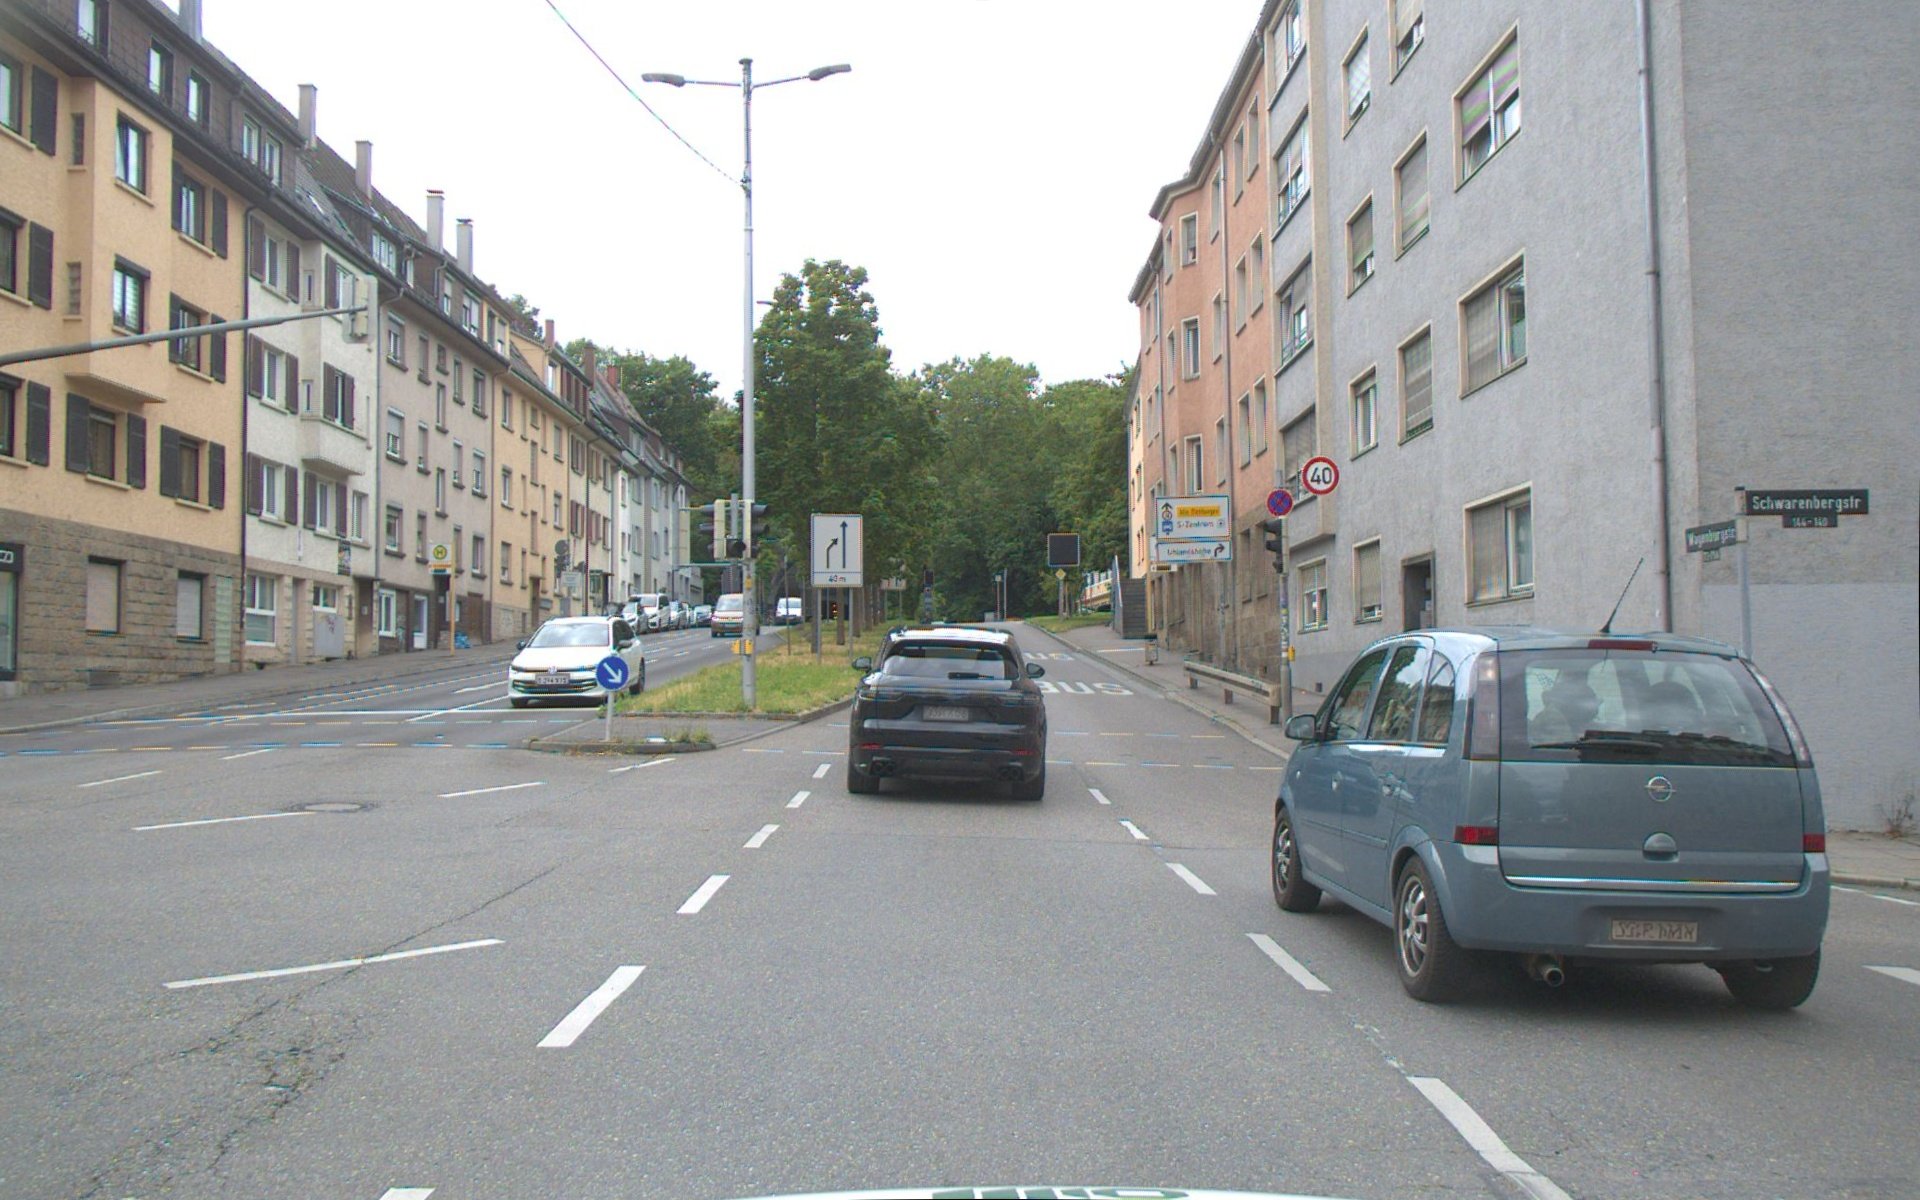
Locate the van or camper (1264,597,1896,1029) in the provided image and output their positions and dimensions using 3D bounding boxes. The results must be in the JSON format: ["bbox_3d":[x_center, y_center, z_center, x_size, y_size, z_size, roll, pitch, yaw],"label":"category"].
[{"bbox_3d":[2.723,0.881,8.162,1.700,1.606,3.644,2,-2,-1],"label":"van or camper"}]

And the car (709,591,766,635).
[{"bbox_3d":[-9.697,0.569,72.323,1.841,1.847,4.351,1,0,0],"label":"car"}]

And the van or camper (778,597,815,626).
[{"bbox_3d":[-10.413,0.725,105.386,1.869,1.792,4.654,1,0,0],"label":"van or camper"}]

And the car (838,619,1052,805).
[{"bbox_3d":[-0.104,1.076,17.381,1.952,1.682,4.000,-1,-1,1],"label":"car"}]

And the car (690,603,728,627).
[{"bbox_3d":[-15.625,0.936,103.178,1.954,1.448,4.208,-1,-1,-4],"label":"car"}]

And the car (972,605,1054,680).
[{"bbox_3d":[1.294,1.006,41.214,1.894,1.682,4.001,-1,0,1],"label":"car"}]

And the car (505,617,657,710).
[{"bbox_3d":[-6.630,1.063,29.403,1.710,1.493,4.584,0,0,-1],"label":"car"}]

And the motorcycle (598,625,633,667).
[{"bbox_3d":[-9.933,1.319,47.738,0.533,1.205,2.205,0,-1,0],"label":"motorcycle"}]

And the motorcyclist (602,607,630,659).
[{"bbox_3d":[-9.936,0.952,47.812,0.659,1.501,0.662,0,-1,1],"label":"motorcyclist"}]

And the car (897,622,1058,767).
[{"bbox_3d":[0.243,1.165,21.858,1.894,1.682,4.000,-1,-1,1],"label":"car"}]

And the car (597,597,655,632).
[{"bbox_3d":[-15.533,0.673,77.054,1.953,1.580,4.156,-1,-1,-1],"label":"car"}]

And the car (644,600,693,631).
[{"bbox_3d":[-15.663,0.839,88.961,1.953,1.580,4.380,-1,-1,-1],"label":"car"}]

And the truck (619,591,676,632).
[{"bbox_3d":[-15.701,0.600,83.248,1.953,1.954,5.345,-1,-1,-1],"label":"truck"}]
